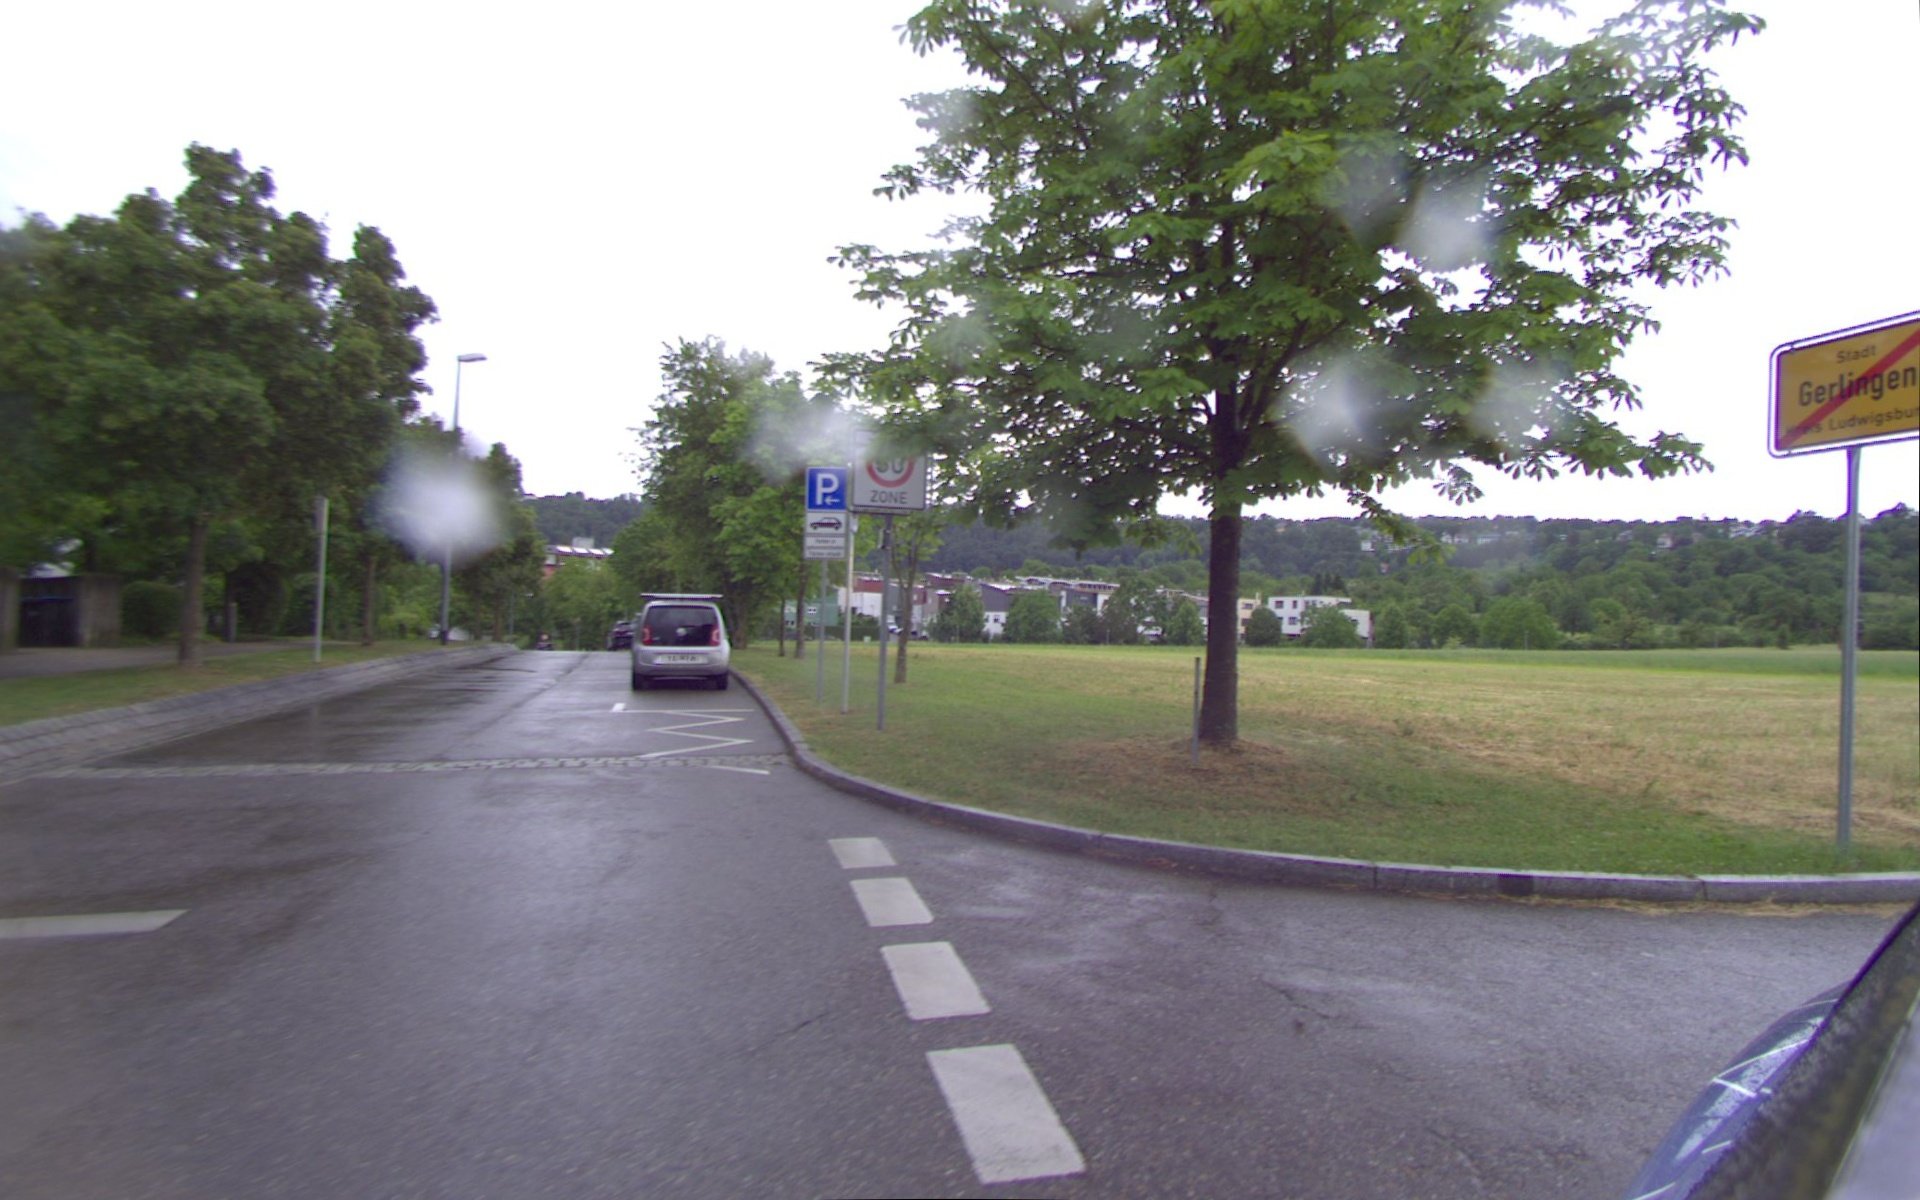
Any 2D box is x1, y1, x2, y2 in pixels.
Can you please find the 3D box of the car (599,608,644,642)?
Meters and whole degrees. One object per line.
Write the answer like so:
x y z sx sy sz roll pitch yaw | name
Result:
-17.982 1.372 53.702 1.921 1.629 4.005 2 -4 -23 | car

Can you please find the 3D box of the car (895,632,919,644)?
-9.909 7.080 187.541 3.918 2.039 2.002 2 -1 -28 | car

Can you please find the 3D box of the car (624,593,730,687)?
-5.038 0.648 18.153 1.644 1.498 3.561 1 0 -15 | car

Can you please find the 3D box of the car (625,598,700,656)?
-8.782 0.794 29.668 1.813 1.572 3.997 2 -2 -20 | car

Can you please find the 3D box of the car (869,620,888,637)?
-16.321 5.633 202.369 2.096 3.266 5.097 1 0 -26 | car

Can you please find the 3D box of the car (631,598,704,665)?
-6.826 0.708 23.697 1.521 1.454 3.017 1 -1 -15 | car
